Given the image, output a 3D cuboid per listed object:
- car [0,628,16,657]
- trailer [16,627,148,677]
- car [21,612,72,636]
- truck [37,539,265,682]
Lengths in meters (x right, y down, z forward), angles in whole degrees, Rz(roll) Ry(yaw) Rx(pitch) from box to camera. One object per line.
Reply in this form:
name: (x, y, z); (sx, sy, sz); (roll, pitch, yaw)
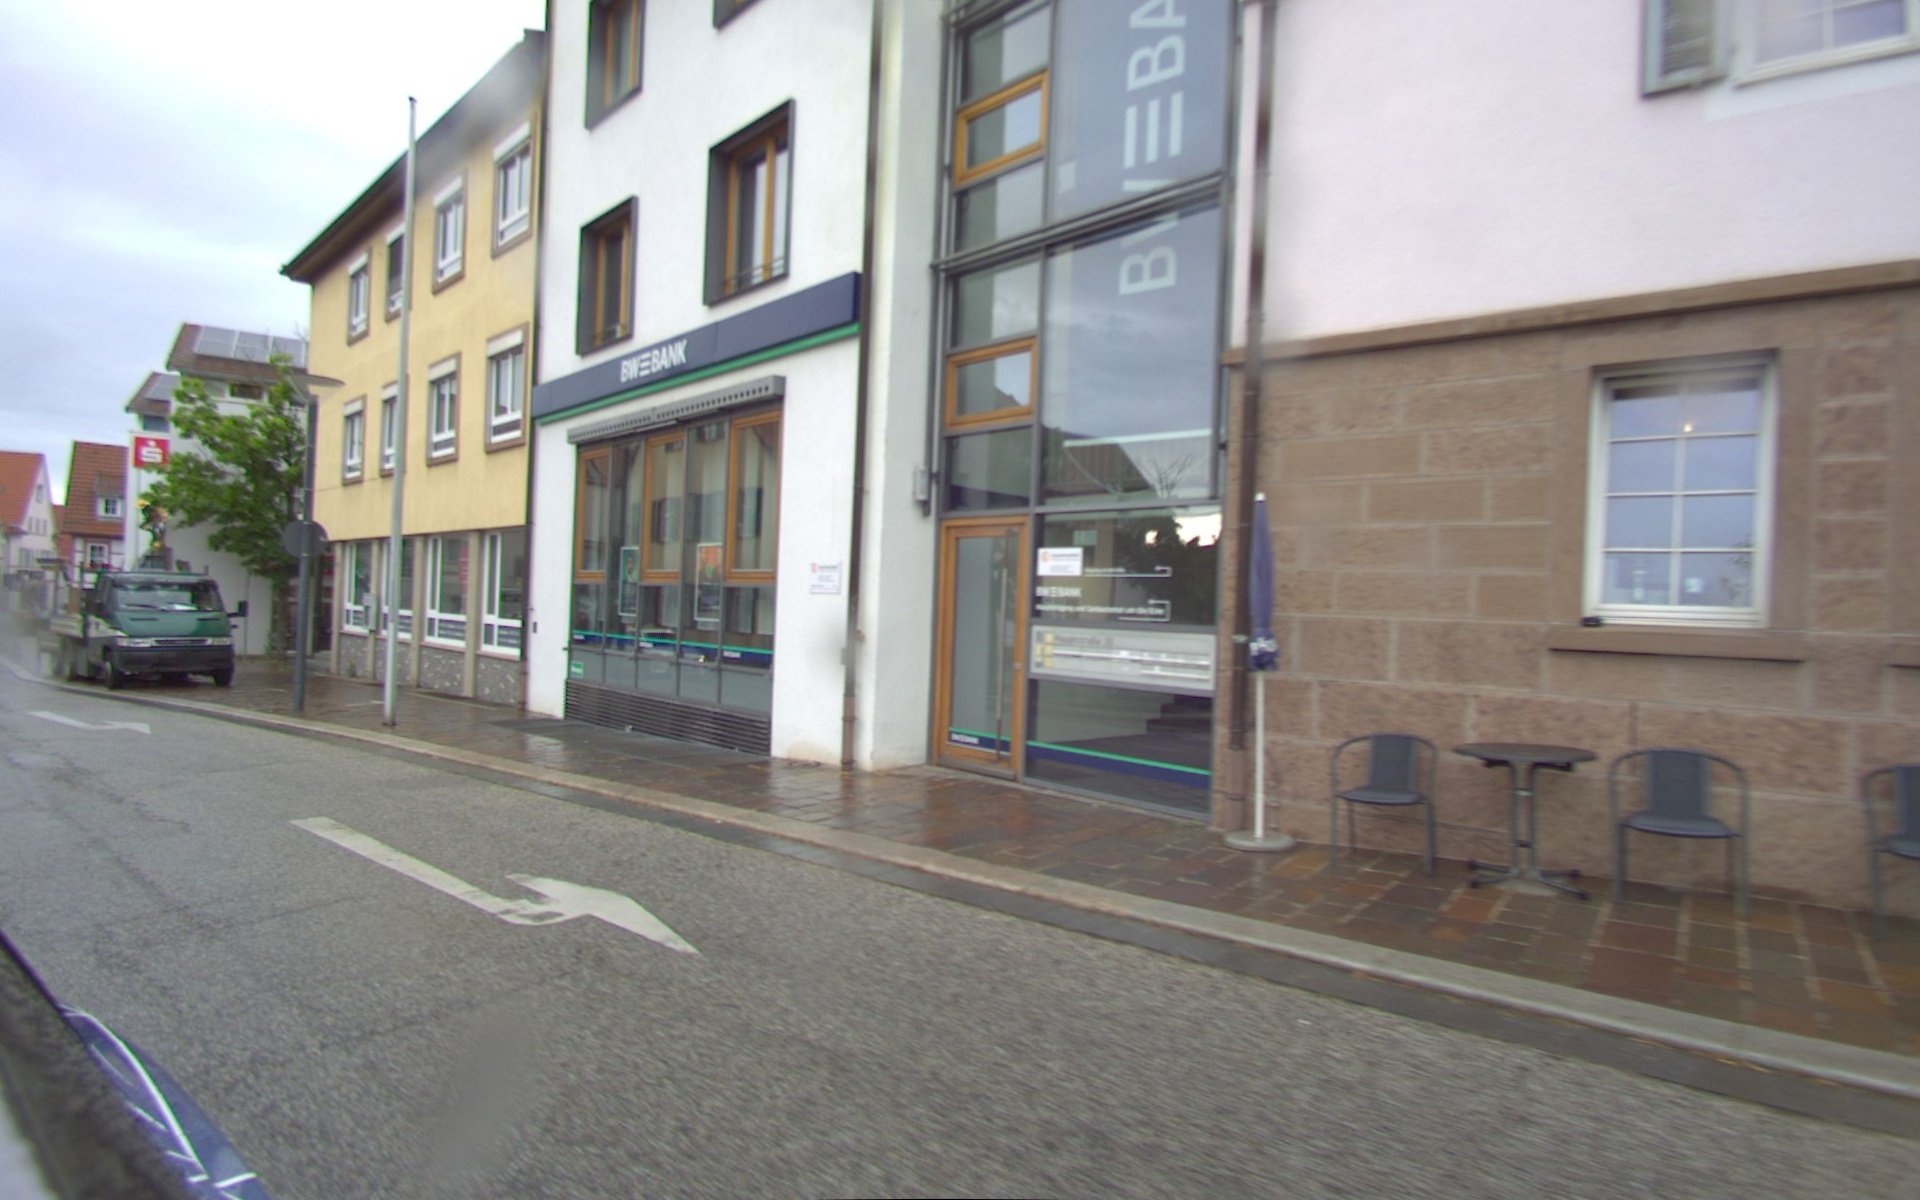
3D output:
car: (-52.244, 2.265, 54.631); (1.780, 1.453, 4.005); (1, -1, -42)
trailer: (-21.060, 1.246, 24.255); (3.015, 1.133, 1.834); (-3, -3, 38)
car: (-60.185, 1.572, 66.732); (1.777, 1.453, 4.012); (1, -1, -32)
truck: (-17.261, 0.347, 21.454); (6.474, 2.615, 2.376); (-3, -4, 39)
